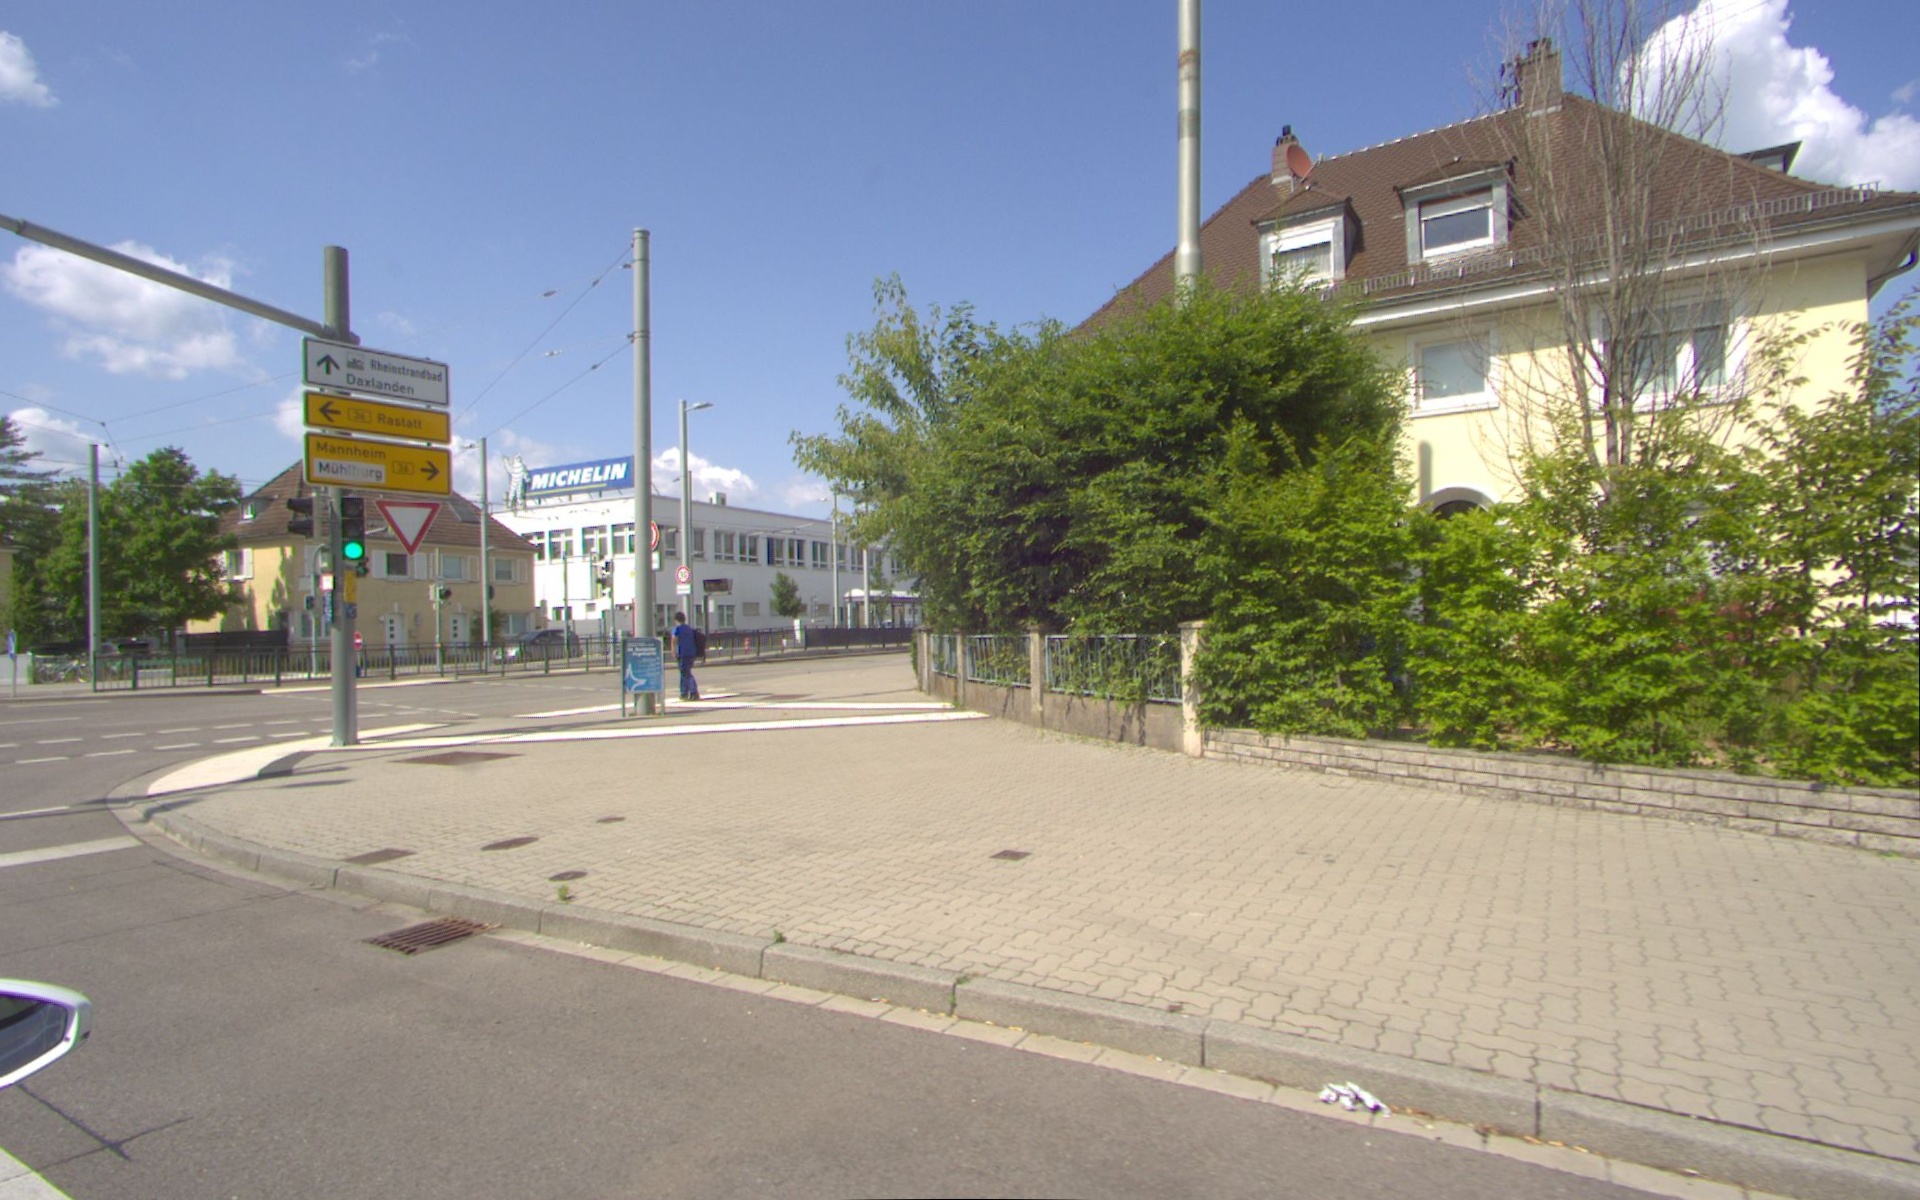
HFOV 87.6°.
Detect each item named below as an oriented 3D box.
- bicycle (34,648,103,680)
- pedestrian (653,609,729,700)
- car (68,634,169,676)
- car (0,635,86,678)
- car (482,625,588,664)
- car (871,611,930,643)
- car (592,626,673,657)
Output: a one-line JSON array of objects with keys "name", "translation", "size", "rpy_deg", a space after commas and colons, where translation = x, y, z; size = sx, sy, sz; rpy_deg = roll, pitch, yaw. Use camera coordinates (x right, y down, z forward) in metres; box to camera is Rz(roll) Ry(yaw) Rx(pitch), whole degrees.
[{"name": "bicycle", "translation": [-33.512, 2.382, 37.663], "size": [1.777, 1.119, 0.701], "rpy_deg": [-1, -1, -19]}, {"name": "pedestrian", "translation": [-5.352, 1.061, 19.924], "size": [1.025, 1.757, 1.028], "rpy_deg": [-1, -1, 28]}, {"name": "car", "translation": [-37.222, 2.426, 44.299], "size": [3.934, 1.641, 1.823], "rpy_deg": [-3, -2, 23]}, {"name": "car", "translation": [-39.013, 2.396, 42.110], "size": [3.934, 1.641, 1.823], "rpy_deg": [-3, -2, 23]}, {"name": "car", "translation": [-18.614, 1.922, 44.020], "size": [1.815, 1.588, 3.982], "rpy_deg": [-2, -1, 30]}, {"name": "car", "translation": [-4.168, 1.894, 71.169], "size": [1.788, 2.187, 4.826], "rpy_deg": [-2, -1, 30]}, {"name": "car", "translation": [-16.124, 2.037, 49.481], "size": [1.553, 1.464, 3.705], "rpy_deg": [-2, -1, 30]}]
